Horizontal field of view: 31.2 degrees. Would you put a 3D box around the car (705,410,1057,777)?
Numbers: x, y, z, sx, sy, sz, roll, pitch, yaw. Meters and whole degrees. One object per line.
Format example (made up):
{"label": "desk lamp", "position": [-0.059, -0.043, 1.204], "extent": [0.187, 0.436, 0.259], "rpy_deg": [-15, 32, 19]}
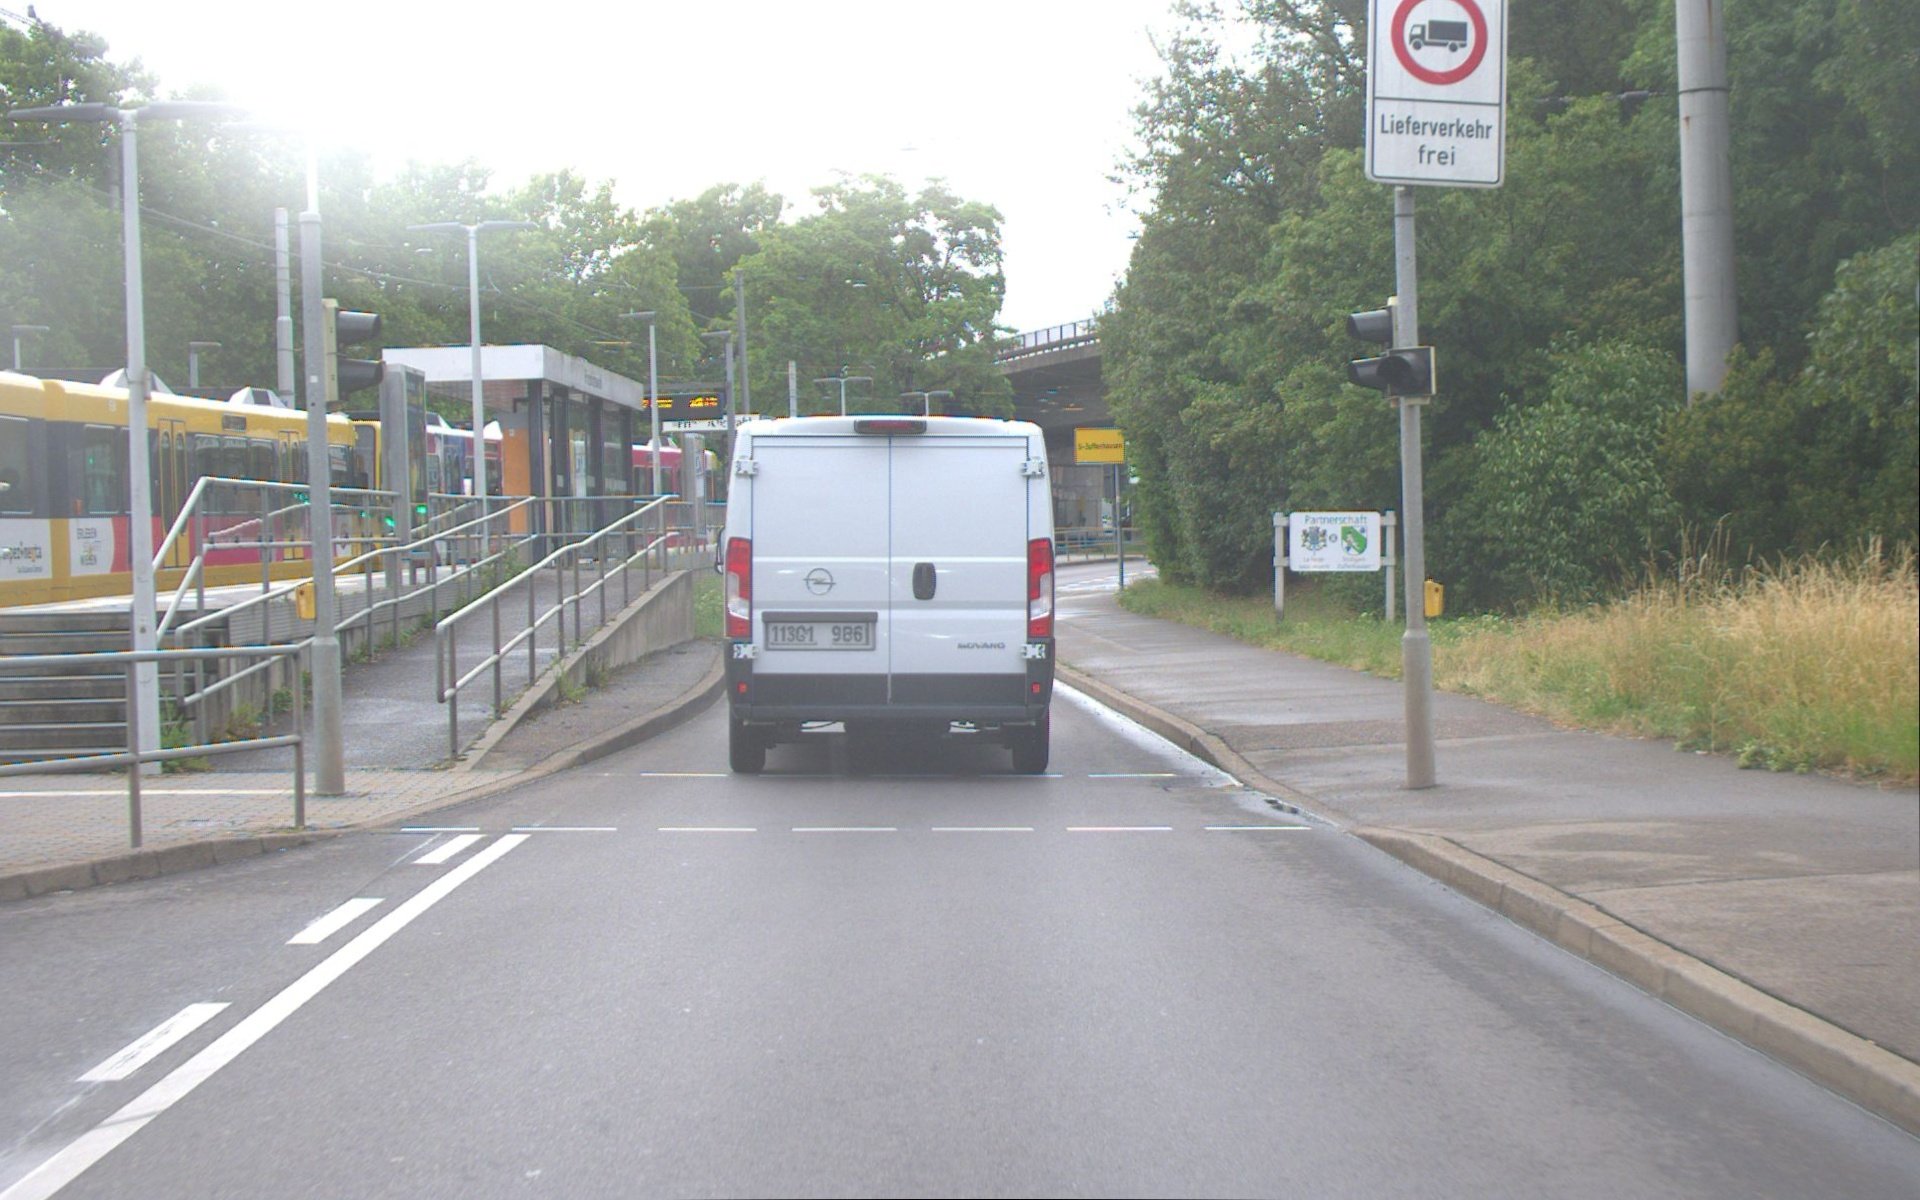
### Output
{"label": "car", "position": [-0.579, -0.110, 23.113], "extent": [2.090, 2.189, 5.062], "rpy_deg": [0, 2, -2]}

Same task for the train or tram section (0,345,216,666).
{"label": "train or tram section", "position": [-12.238, -1.249, 45.772], "extent": [2.928, 3.919, 7.005], "rpy_deg": [1, 1, 2]}

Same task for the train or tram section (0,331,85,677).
{"label": "train or tram section", "position": [-12.358, -1.117, 39.369], "extent": [2.928, 3.919, 7.006], "rpy_deg": [1, 1, -1]}

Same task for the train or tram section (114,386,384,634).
{"label": "train or tram section", "position": [-11.939, -1.507, 58.378], "extent": [2.928, 3.919, 7.005], "rpy_deg": [1, 1, 2]}

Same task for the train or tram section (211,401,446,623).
{"label": "train or tram section", "position": [-11.766, -1.636, 64.701], "extent": [2.928, 3.919, 7.005], "rpy_deg": [1, 1, 2]}

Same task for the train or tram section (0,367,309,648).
{"label": "train or tram section", "position": [-12.090, -1.377, 52.058], "extent": [2.928, 3.919, 7.005], "rpy_deg": [1, 1, 2]}
